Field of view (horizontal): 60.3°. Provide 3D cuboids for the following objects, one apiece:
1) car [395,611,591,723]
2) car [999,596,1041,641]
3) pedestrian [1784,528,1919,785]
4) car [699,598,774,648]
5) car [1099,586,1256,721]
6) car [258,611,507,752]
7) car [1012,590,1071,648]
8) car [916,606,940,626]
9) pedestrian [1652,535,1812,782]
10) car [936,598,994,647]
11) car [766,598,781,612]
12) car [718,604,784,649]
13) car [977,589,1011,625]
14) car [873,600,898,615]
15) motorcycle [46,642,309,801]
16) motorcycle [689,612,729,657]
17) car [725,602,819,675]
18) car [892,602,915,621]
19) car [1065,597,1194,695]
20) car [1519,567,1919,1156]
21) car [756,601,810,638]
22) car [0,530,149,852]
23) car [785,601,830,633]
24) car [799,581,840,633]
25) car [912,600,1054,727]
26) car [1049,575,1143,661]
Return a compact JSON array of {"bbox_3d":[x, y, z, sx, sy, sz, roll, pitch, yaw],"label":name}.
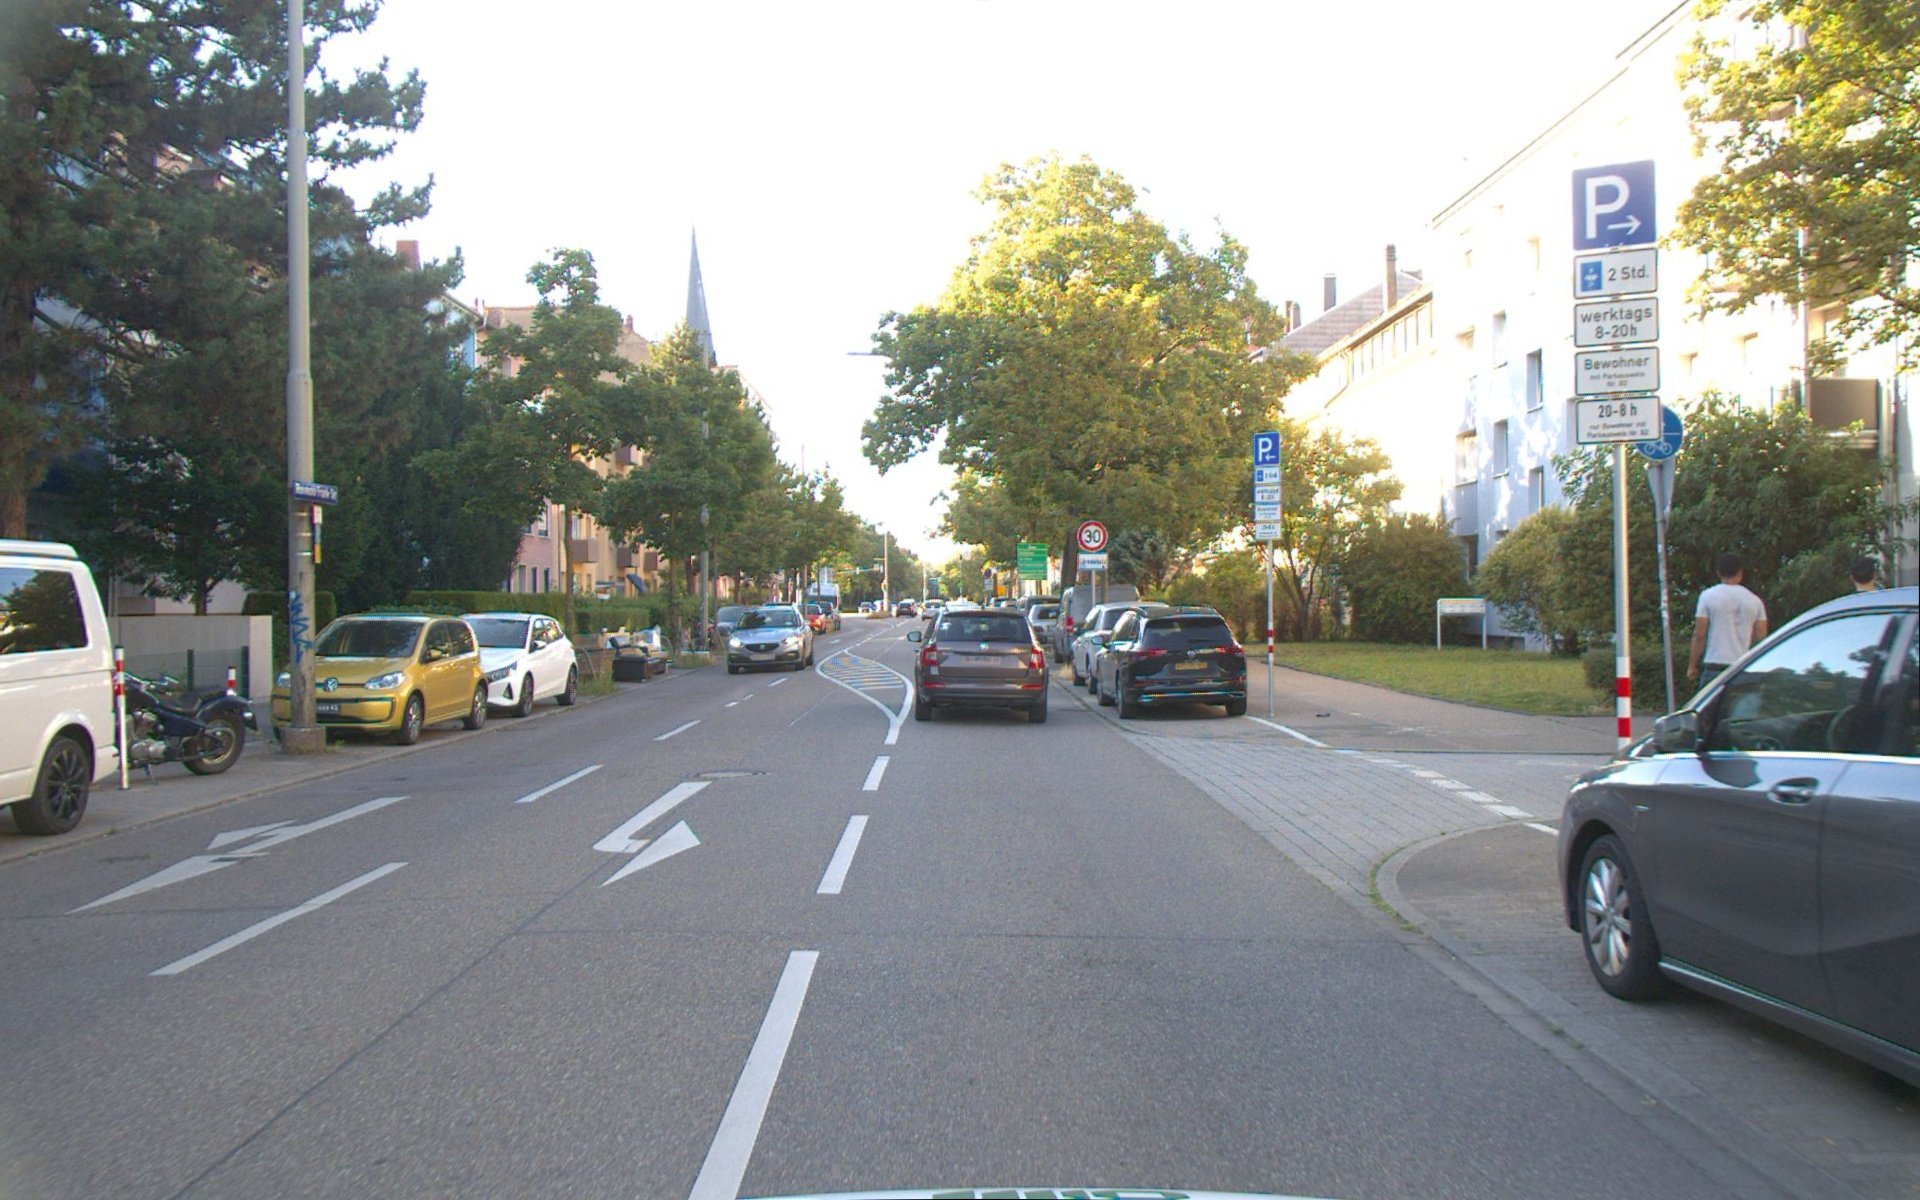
[{"bbox_3d":[-7.032,0.952,25.314,1.744,1.521,3.972,1,0,2],"label":"car"},{"bbox_3d":[2.556,0.774,71.324,1.718,1.837,4.000,1,0,1],"label":"car"},{"bbox_3d":[6.955,0.421,12.765,0.781,1.893,0.951,-1,0,10],"label":"pedestrian"},{"bbox_3d":[-7.181,0.712,53.378,1.744,1.506,4.034,1,0,2],"label":"car"},{"bbox_3d":[2.980,0.685,23.416,1.718,1.716,4.253,1,0,1],"label":"car"},{"bbox_3d":[-6.948,0.916,20.310,1.585,1.506,3.872,1,0,2],"label":"car"},{"bbox_3d":[2.530,0.573,51.951,1.718,1.745,4.000,1,0,1],"label":"car"},{"bbox_3d":[-2.565,1.298,132.408,1.746,1.506,3.968,1,0,-4],"label":"car"},{"bbox_3d":[6.213,0.451,13.363,0.733,1.893,1.068,-1,0,-1],"label":"pedestrian"},{"bbox_3d":[0.139,0.770,56.821,1.854,1.533,3.788,3,-1,-1],"label":"car"},{"bbox_3d":[-25.018,0.684,221.762,1.956,1.780,3.993,-1,0,-8],"label":"car"},{"bbox_3d":[-7.479,0.927,59.453,1.744,1.506,3.972,1,0,2],"label":"car"},{"bbox_3d":[1.805,0.370,88.124,1.718,1.837,4.000,1,0,0],"label":"car"},{"bbox_3d":[-8.804,0.892,195.283,1.624,1.627,3.571,-1,0,-25],"label":"car"},{"bbox_3d":[-6.965,1.040,14.884,0.645,1.225,2.332,-1,0,20],"label":"motorcycle"},{"bbox_3d":[-7.184,0.970,47.417,0.724,1.225,2.142,1,0,2],"label":"motorcycle"},{"bbox_3d":[-4.354,0.852,38.859,1.704,1.505,4.308,-4,0,-1],"label":"car"},{"bbox_3d":[-5.437,1.069,159.245,1.955,1.780,3.995,-1,0,-6],"label":"car"},{"bbox_3d":[2.909,0.744,29.155,1.719,1.584,4.103,1,0,-2],"label":"car"},{"bbox_3d":[3.415,0.686,5.106,1.719,1.584,4.250,-2,0,-3],"label":"car"},{"bbox_3d":[-7.633,0.821,71.589,1.744,1.506,3.972,1,0,2],"label":"car"},{"bbox_3d":[-7.058,0.584,9.942,1.831,2.067,5.299,0,0,-1],"label":"car"},{"bbox_3d":[-7.557,0.811,82.061,1.744,1.506,3.972,1,0,2],"label":"car"},{"bbox_3d":[-8.008,0.395,94.622,1.951,2.830,5.502,1,0,-1],"label":"car"},{"bbox_3d":[0.319,0.772,22.144,1.718,1.518,4.000,1,0,1],"label":"car"},{"bbox_3d":[3.179,0.400,39.520,1.877,1.893,5.633,-1,0,1],"label":"car"}]
